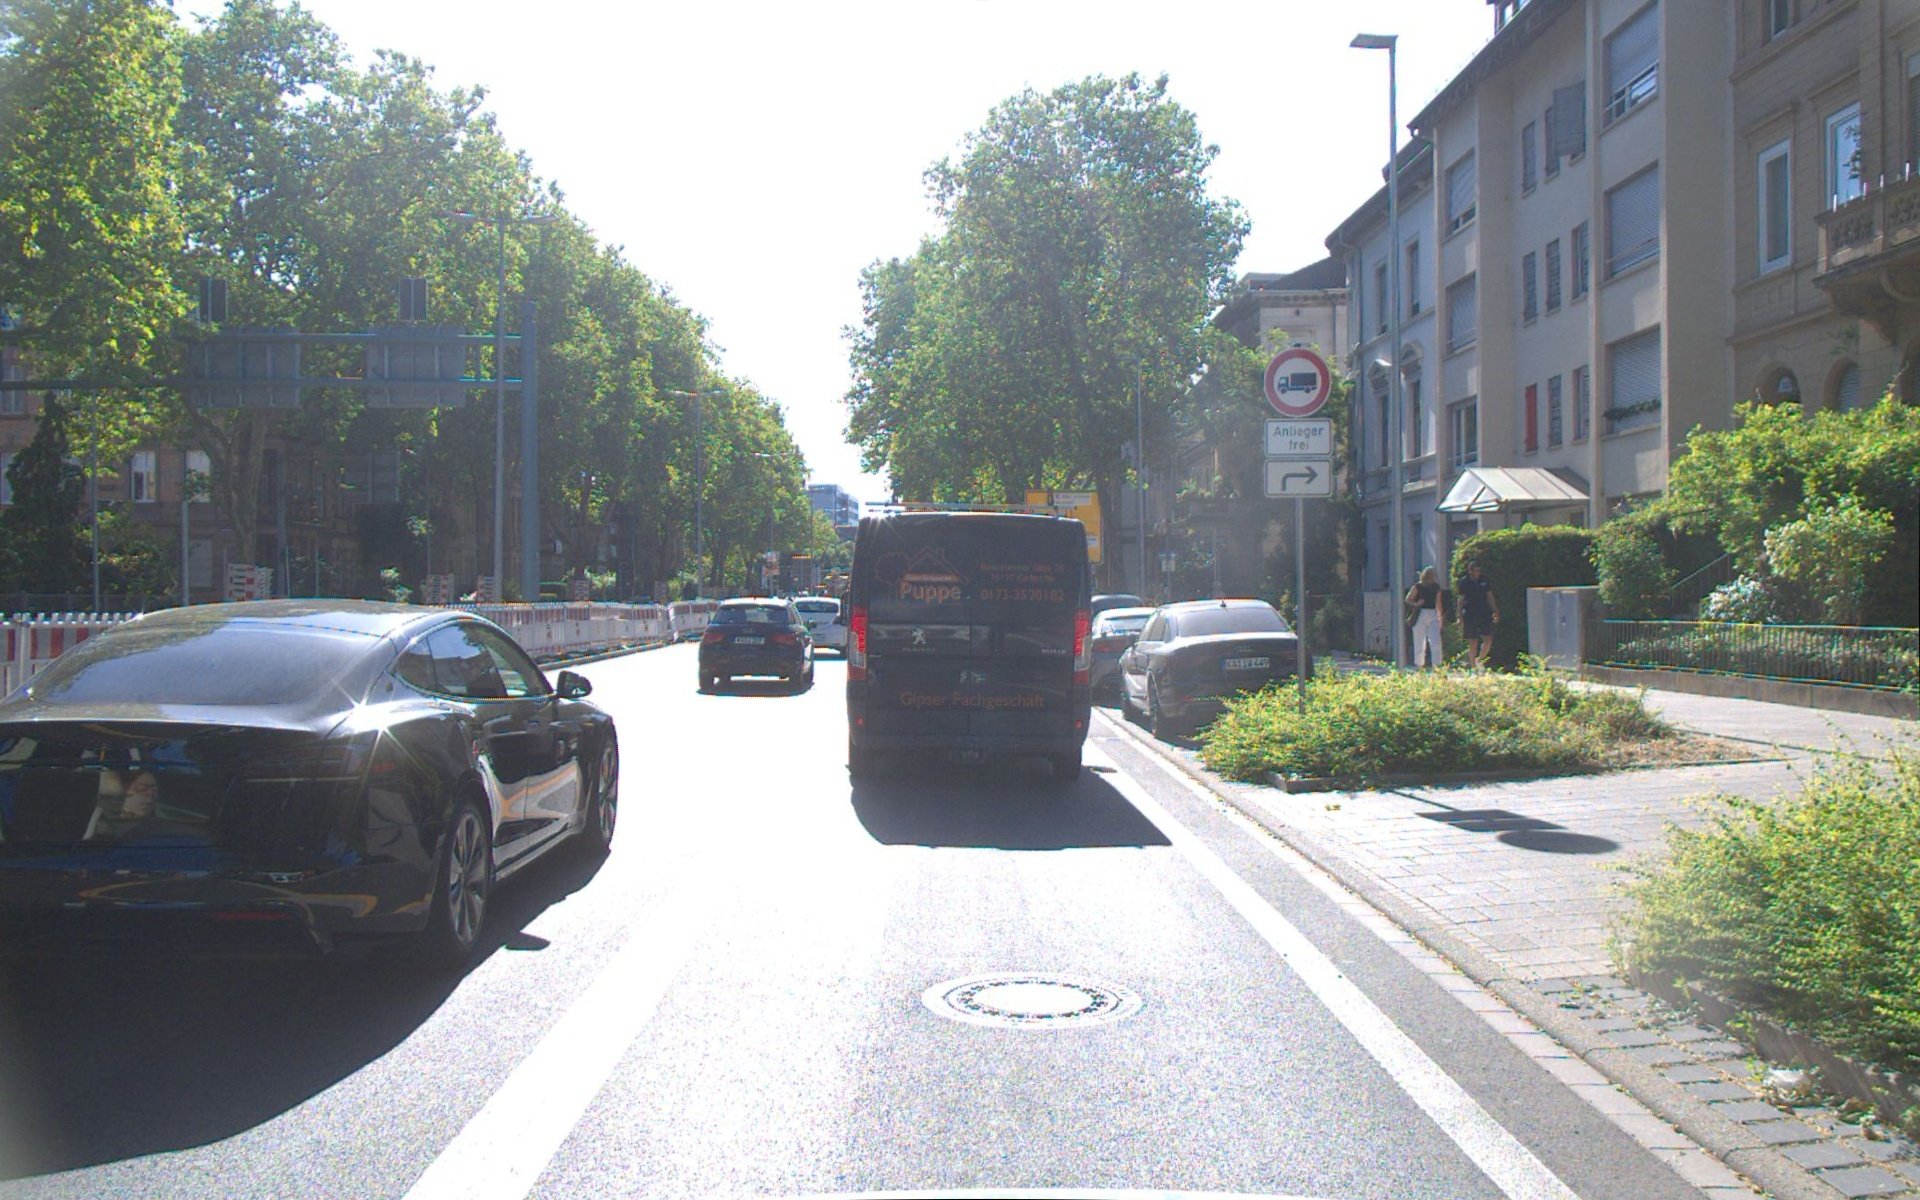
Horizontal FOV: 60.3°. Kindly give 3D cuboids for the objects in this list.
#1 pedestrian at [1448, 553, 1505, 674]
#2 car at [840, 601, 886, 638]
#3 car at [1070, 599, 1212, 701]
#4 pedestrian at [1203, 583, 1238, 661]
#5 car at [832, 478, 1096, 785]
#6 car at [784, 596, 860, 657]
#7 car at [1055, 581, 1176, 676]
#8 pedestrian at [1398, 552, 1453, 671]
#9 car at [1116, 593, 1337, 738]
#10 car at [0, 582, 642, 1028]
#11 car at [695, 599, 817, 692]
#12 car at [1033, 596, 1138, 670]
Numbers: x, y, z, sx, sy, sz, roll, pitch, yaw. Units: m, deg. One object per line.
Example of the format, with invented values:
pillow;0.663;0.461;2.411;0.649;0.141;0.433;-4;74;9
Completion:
pedestrian;7.852;0.200;25.178;0.640;1.786;1.014;-1;0;8
car;-3.376;0.661;58.088;1.392;1.246;3.438;-1;0;0
car;2.713;0.711;25.503;1.806;1.433;3.801;-1;0;1
pedestrian;6.978;0.592;44.373;0.781;2.049;1.168;-1;0;4
car;-0.029;0.223;14.936;2.053;2.396;3.932;0;1;-2
car;-3.424;0.631;41.528;1.515;1.450;3.556;-1;0;1
car;2.972;0.518;32.296;1.807;1.672;3.798;-2;0;-2
pedestrian;7.135;0.176;25.374;0.661;1.786;0.876;-1;0;8
car;2.965;0.678;19.338;1.807;1.467;4.486;-1;0;0
car;-2.876;0.664;7.804;1.886;1.436;4.625;2;0;-1
car;-3.341;0.709;27.706;1.711;1.432;3.998;1;0;-3
car;2.678;0.683;36.186;1.807;1.433;3.798;-3;0;-2
